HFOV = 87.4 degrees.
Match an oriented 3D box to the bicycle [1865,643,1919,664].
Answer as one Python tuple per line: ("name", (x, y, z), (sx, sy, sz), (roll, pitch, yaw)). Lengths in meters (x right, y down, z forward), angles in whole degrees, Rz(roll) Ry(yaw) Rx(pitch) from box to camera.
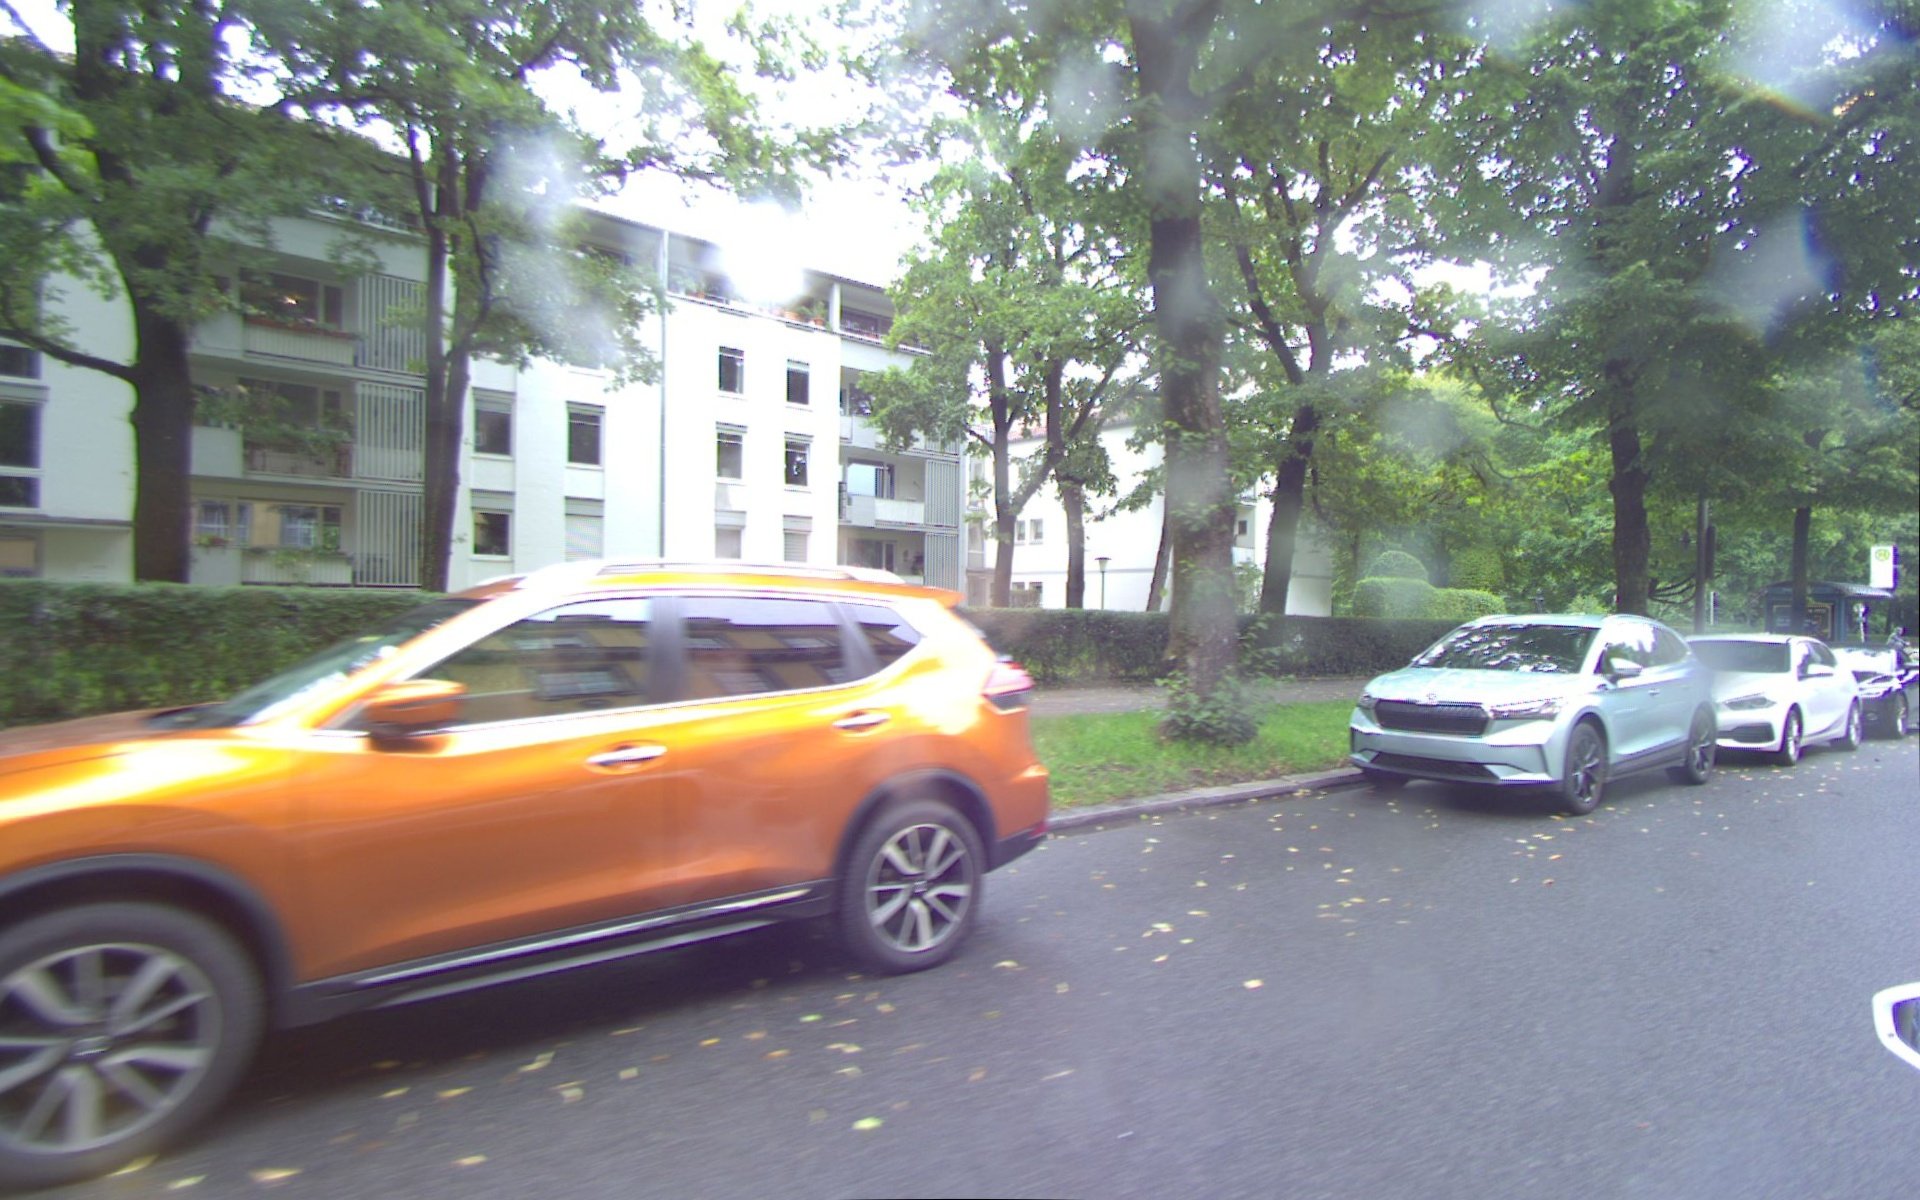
("bicycle", (40.298, 2.306, 43.393), (0.566, 0.807, 1.747), (3, -1, -43))

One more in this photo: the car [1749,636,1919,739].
("car", (13.956, 1.281, 15.644), (4.004, 1.361, 1.567), (2, -1, -35))

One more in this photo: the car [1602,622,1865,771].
("car", (9.587, 1.069, 12.335), (4.161, 1.517, 1.565), (2, -1, -38))

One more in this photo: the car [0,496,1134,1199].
("car", (-1.555, 0.662, 4.266), (4.597, 1.751, 1.859), (2, -1, -37))

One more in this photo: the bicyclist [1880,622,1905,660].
("bicyclist", (40.303, 1.790, 43.425), (0.651, 1.606, 0.743), (3, -1, -43))

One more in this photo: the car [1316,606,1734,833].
("car", (5.402, 0.928, 9.361), (4.473, 1.622, 1.801), (2, -1, -38))
